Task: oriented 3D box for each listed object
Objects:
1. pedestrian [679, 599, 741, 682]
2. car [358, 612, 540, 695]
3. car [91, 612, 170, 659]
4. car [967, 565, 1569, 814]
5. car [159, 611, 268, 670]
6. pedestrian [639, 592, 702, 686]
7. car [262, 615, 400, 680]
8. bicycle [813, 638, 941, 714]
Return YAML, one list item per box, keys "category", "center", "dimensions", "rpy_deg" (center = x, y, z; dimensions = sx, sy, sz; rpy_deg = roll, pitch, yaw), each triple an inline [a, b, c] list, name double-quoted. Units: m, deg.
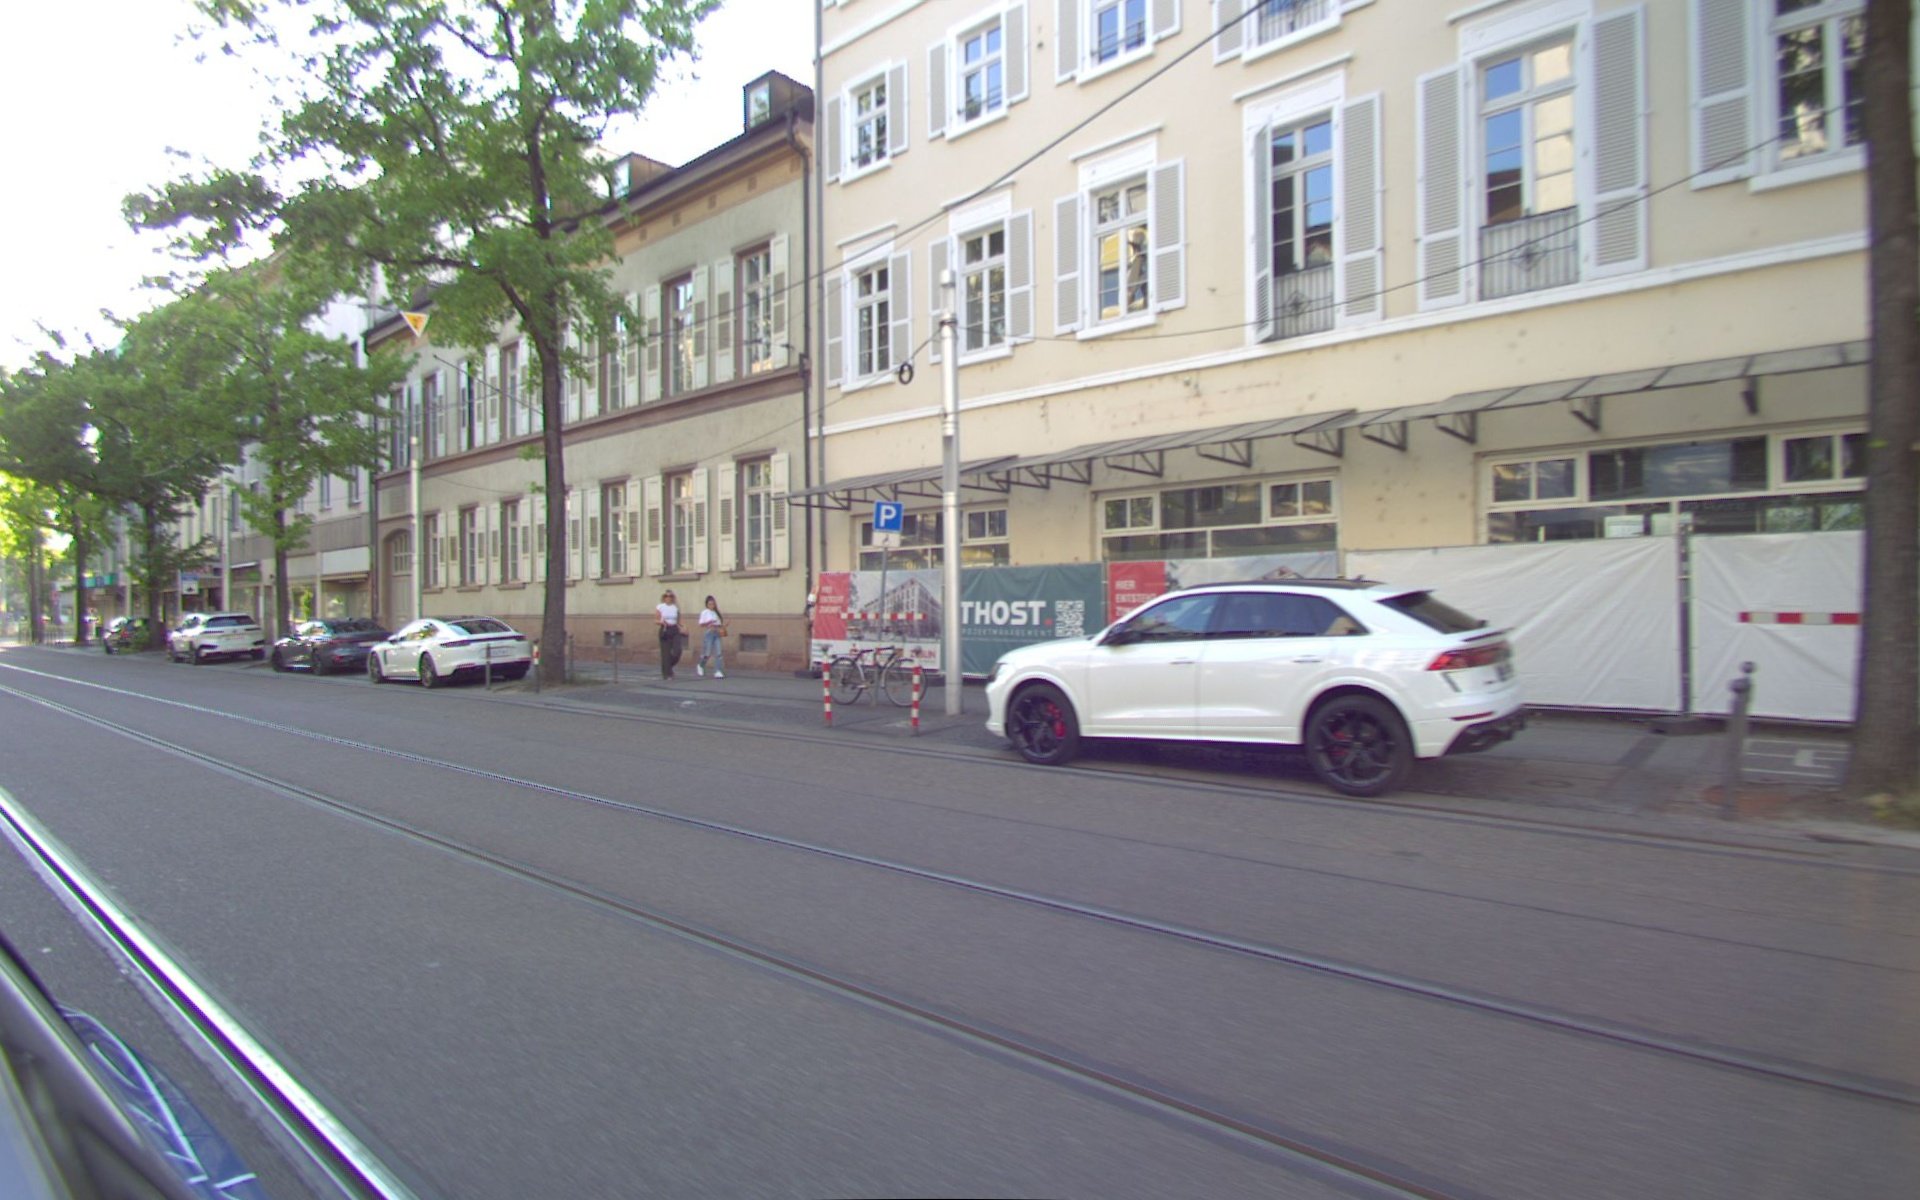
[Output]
- category: "pedestrian"
  center: [-5.032, 0.809, 20.376]
  dimensions: [0.933, 1.592, 0.736]
  rpy_deg: [-1, 2, 41]
- category: "car"
  center: [-10.988, 1.074, 21.625]
  dimensions: [4.615, 1.477, 1.873]
  rpy_deg: [-2, 2, 42]
- category: "car"
  center: [-36.482, 1.549, 44.459]
  dimensions: [4.763, 1.972, 1.907]
  rpy_deg: [-2, -2, 41]
- category: "car"
  center: [2.607, 0.651, 9.325]
  dimensions: [4.944, 1.701, 1.848]
  rpy_deg: [-1, 2, 38]
- category: "car"
  center: [-25.463, 1.341, 34.472]
  dimensions: [4.763, 1.754, 1.927]
  rpy_deg: [-2, 2, 41]
- category: "pedestrian"
  center: [-5.683, 0.744, 19.874]
  dimensions: [0.933, 1.755, 0.736]
  rpy_deg: [-1, 2, 42]
- category: "car"
  center: [-16.736, 1.230, 26.839]
  dimensions: [4.337, 1.477, 1.724]
  rpy_deg: [-2, 2, 39]
- category: "bicycle"
  center: [-1.224, 1.066, 14.650]
  dimensions: [1.892, 0.982, 0.620]
  rpy_deg: [-1, 2, 38]
